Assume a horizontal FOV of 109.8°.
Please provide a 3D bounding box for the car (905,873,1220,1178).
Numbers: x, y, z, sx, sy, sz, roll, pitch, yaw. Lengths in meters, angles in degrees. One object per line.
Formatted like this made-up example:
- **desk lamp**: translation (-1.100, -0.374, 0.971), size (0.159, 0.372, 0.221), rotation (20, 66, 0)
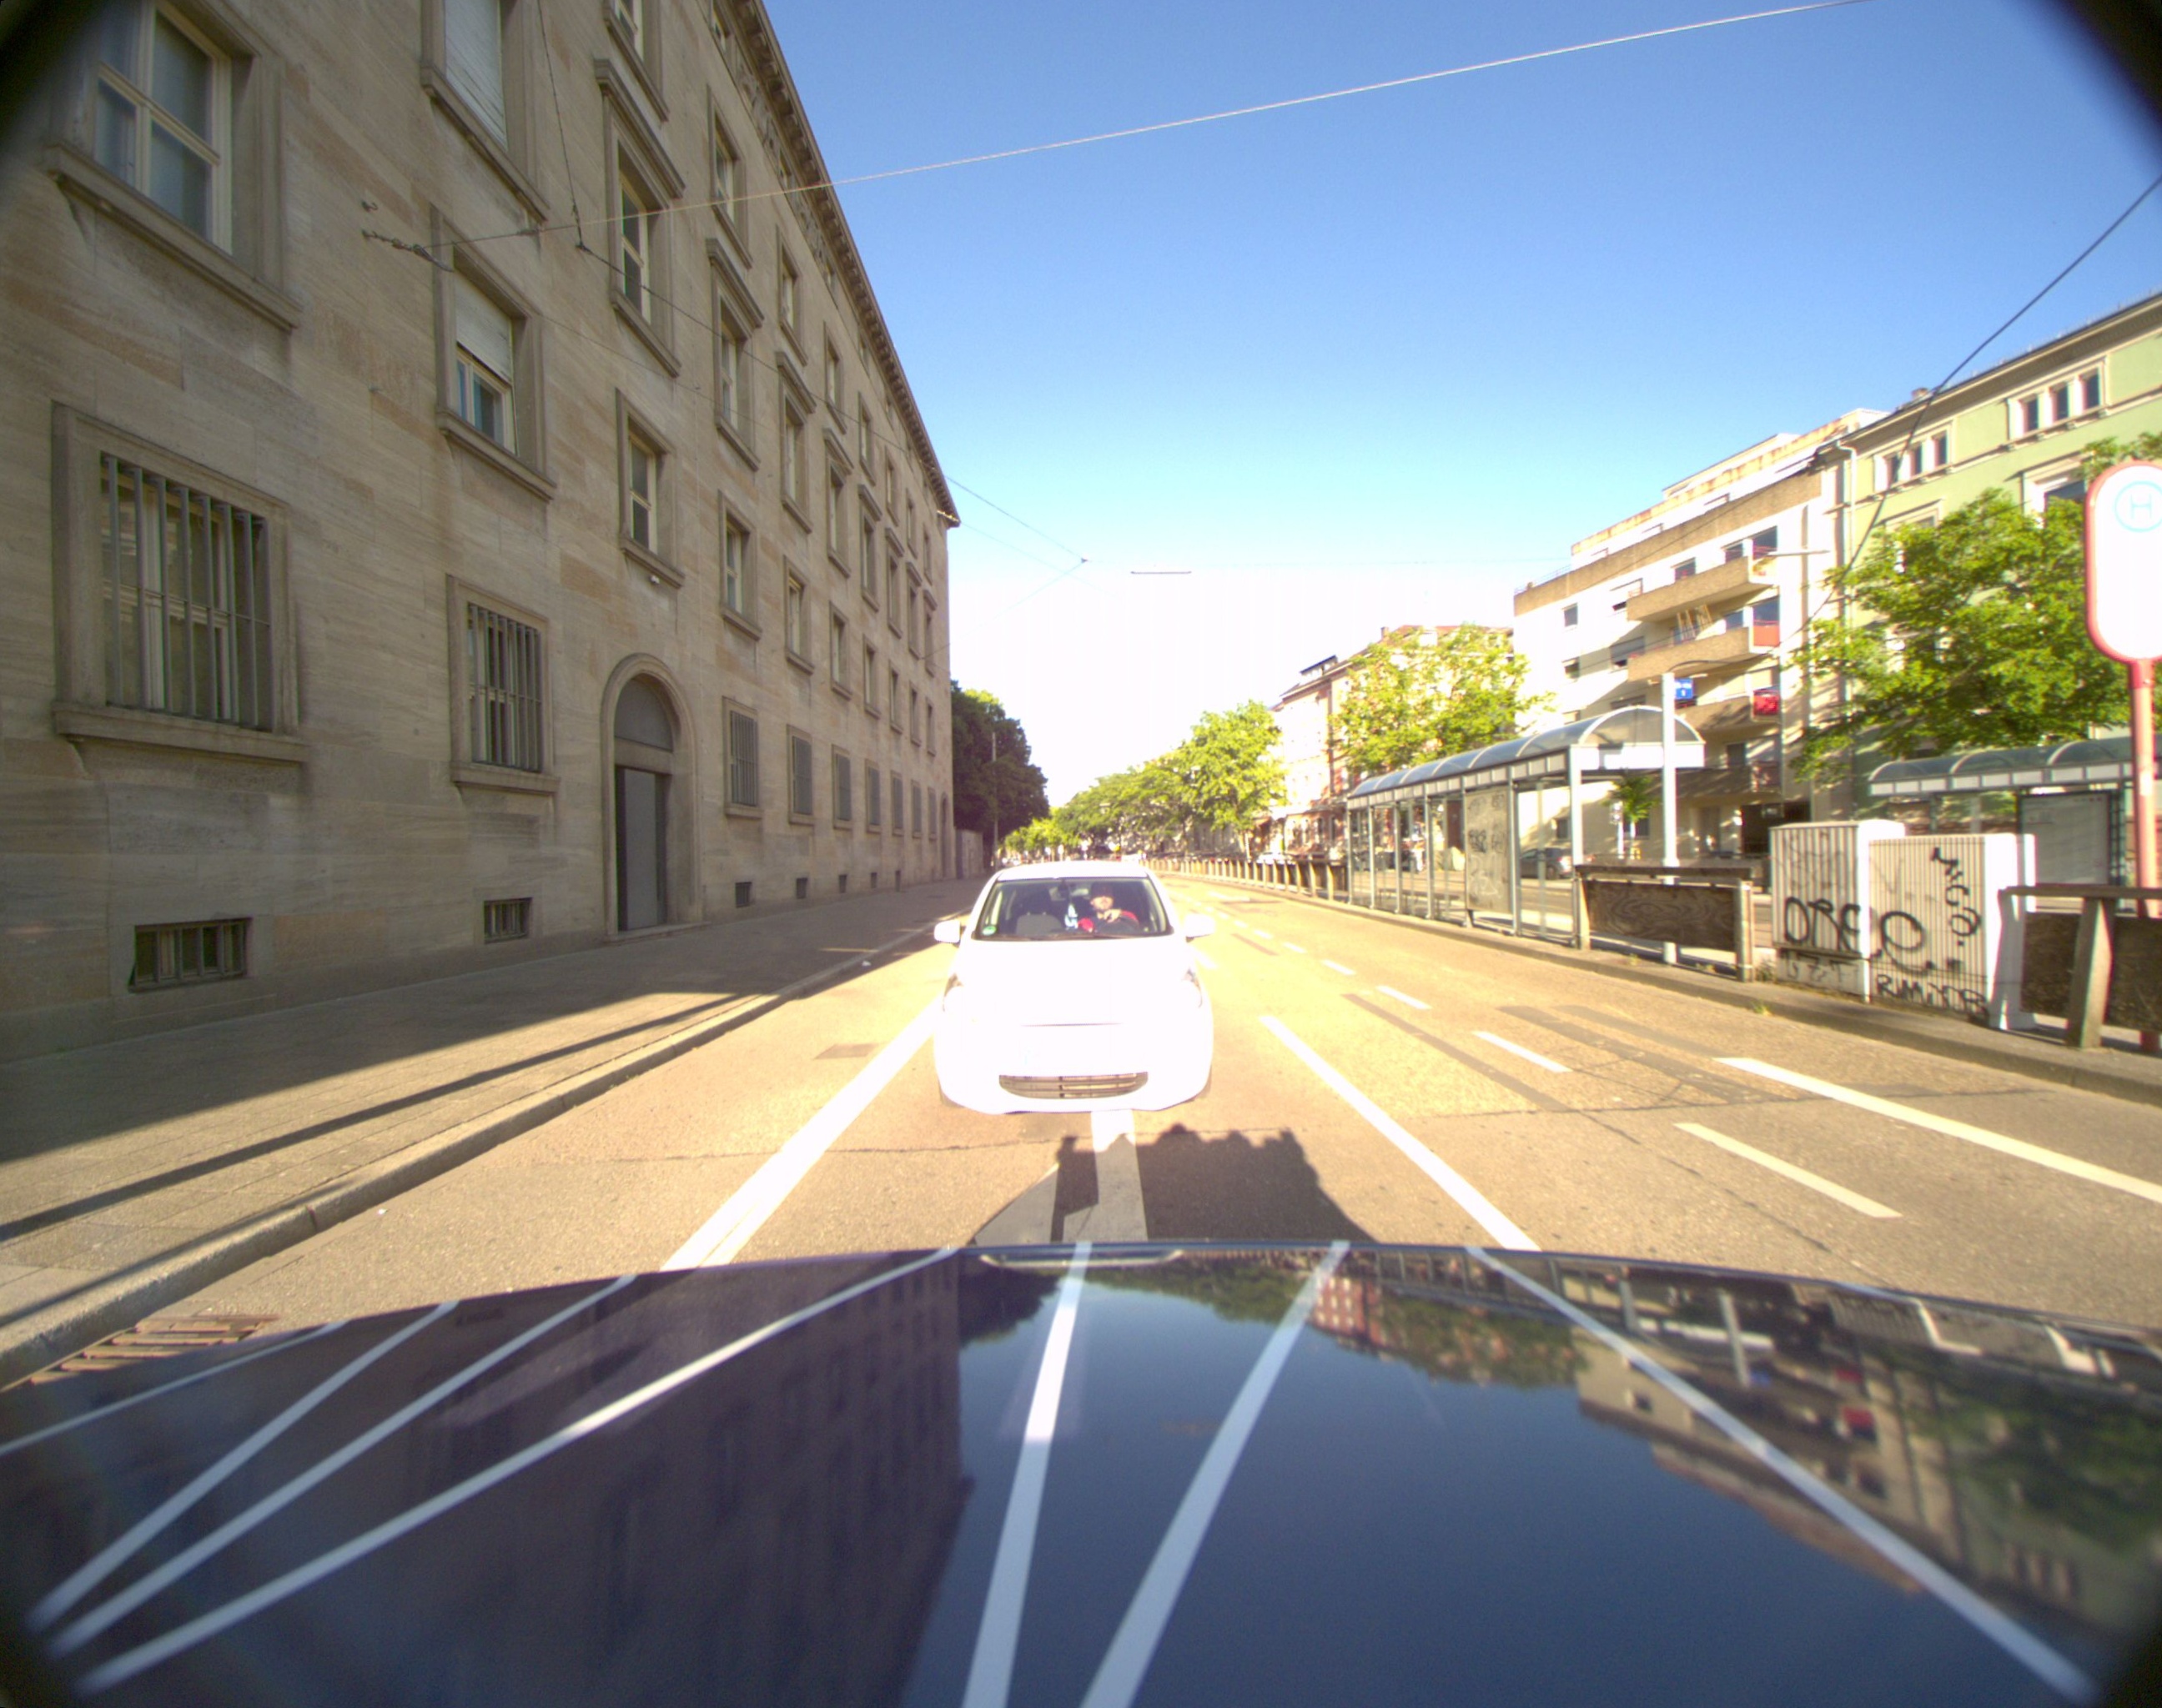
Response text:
- **car**: translation (-0.071, 0.941, 5.772), size (1.606, 1.455, 3.621), rotation (-1, 0, 1)

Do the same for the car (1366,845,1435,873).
- **car**: translation (18.833, 0.279, 45.014), size (2.000, 1.521, 3.997), rotation (-1, 0, -8)

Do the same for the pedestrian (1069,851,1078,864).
- **pedestrian**: translation (-0.906, 0.472, 96.249), size (0.685, 1.673, 0.930), rotation (0, 1, 44)

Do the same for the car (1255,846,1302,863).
- **car**: translation (16.391, 0.045, 63.123), size (3.648, 1.342, 1.578), rotation (-2, 1, -29)

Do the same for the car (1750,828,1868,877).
- **car**: translation (31.712, -0.088, 33.126), size (4.001, 2.002, 1.798), rotation (-1, 1, -13)

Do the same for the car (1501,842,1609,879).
- **car**: translation (21.063, 0.279, 33.975), size (2.000, 1.521, 3.997), rotation (-1, 0, -8)
